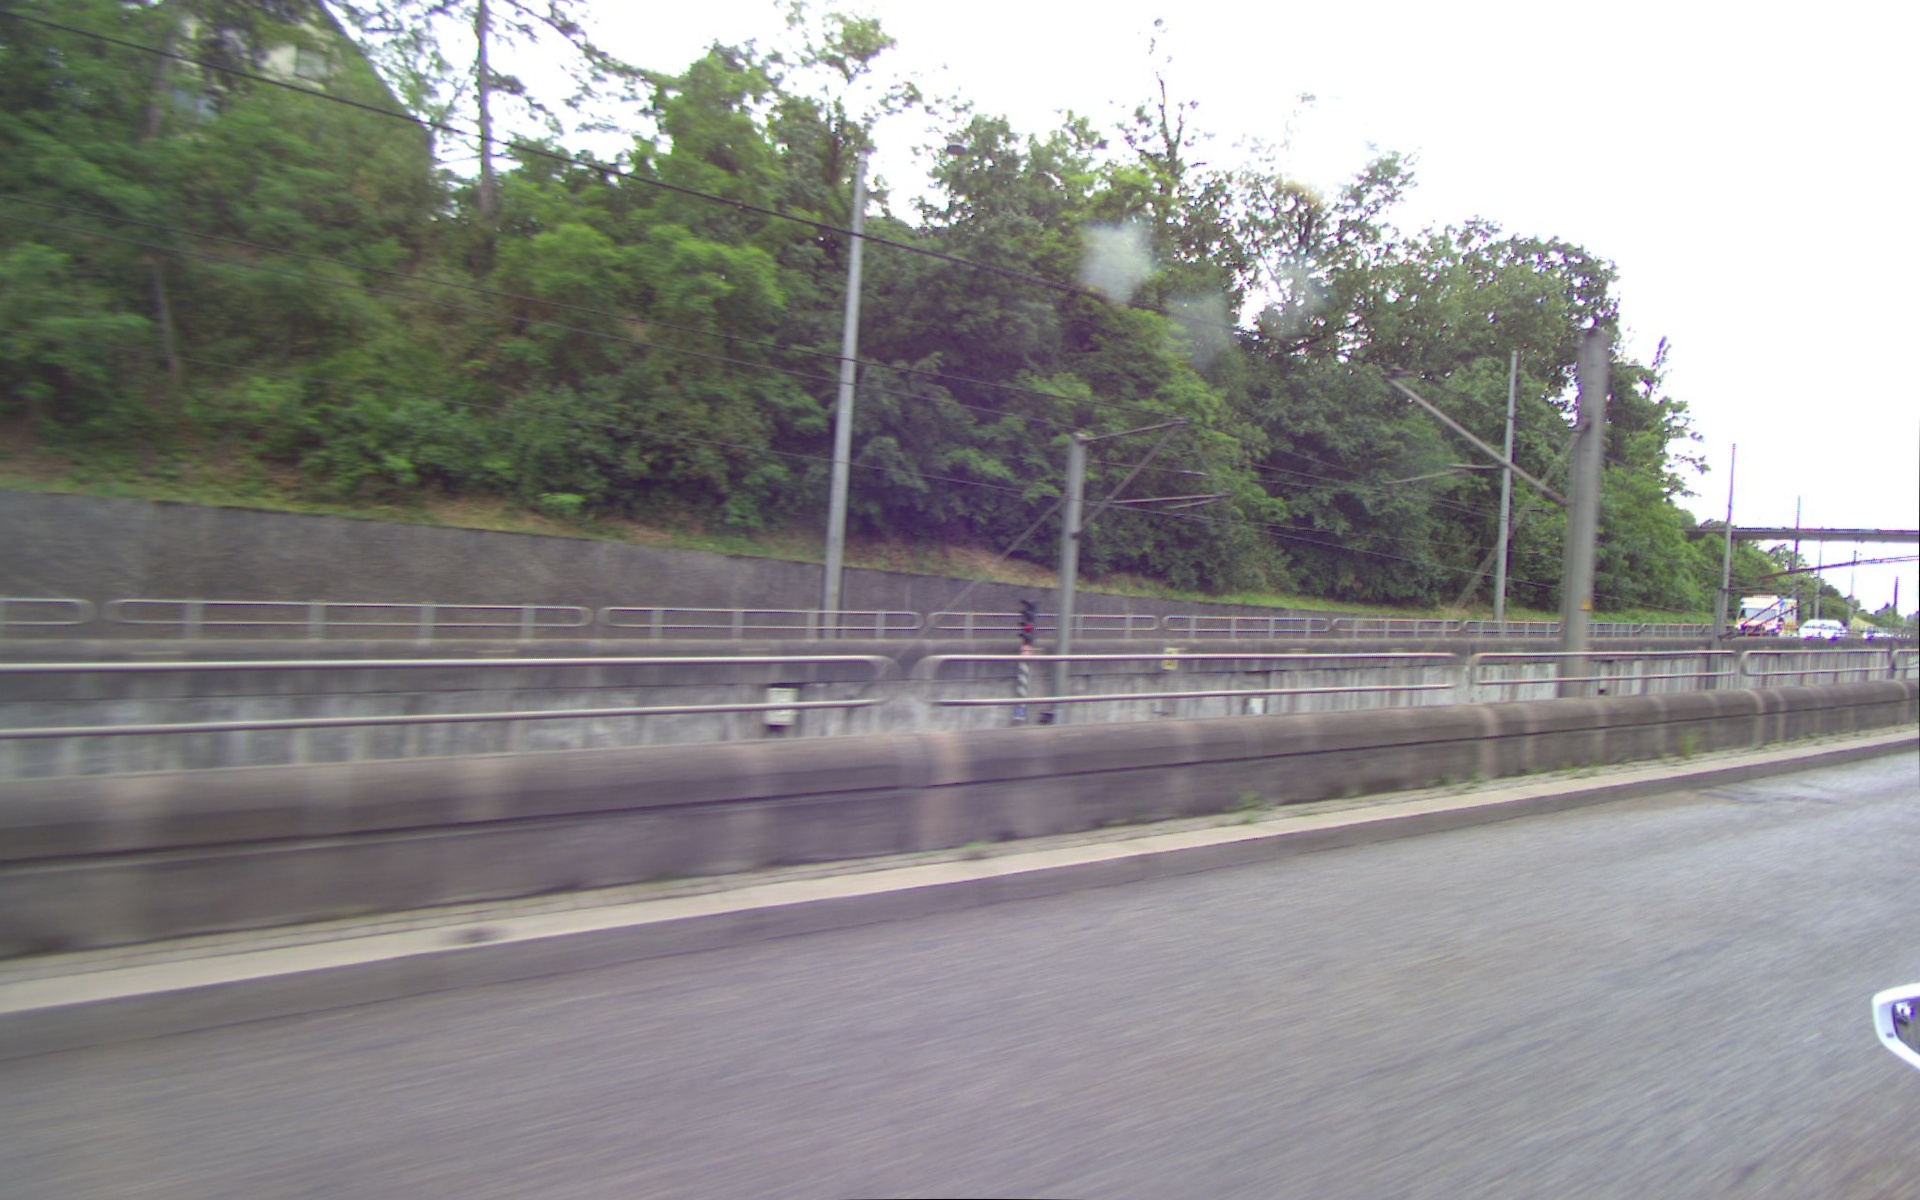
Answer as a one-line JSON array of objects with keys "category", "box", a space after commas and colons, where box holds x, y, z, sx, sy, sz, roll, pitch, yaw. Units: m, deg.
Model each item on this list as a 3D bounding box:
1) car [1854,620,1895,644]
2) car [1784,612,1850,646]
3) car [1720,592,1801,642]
[{"category": "car", "box": [71.731, 2.503, 78.784, 4.110, 1.773, 1.944, 2, -1, -41]}, {"category": "car", "box": [45.477, 1.552, 53.281, 4.072, 1.726, 1.805, 2, -1, -37]}, {"category": "car", "box": [46.902, 1.032, 58.809, 6.285, 2.771, 2.167, 2, -1, -37]}]
